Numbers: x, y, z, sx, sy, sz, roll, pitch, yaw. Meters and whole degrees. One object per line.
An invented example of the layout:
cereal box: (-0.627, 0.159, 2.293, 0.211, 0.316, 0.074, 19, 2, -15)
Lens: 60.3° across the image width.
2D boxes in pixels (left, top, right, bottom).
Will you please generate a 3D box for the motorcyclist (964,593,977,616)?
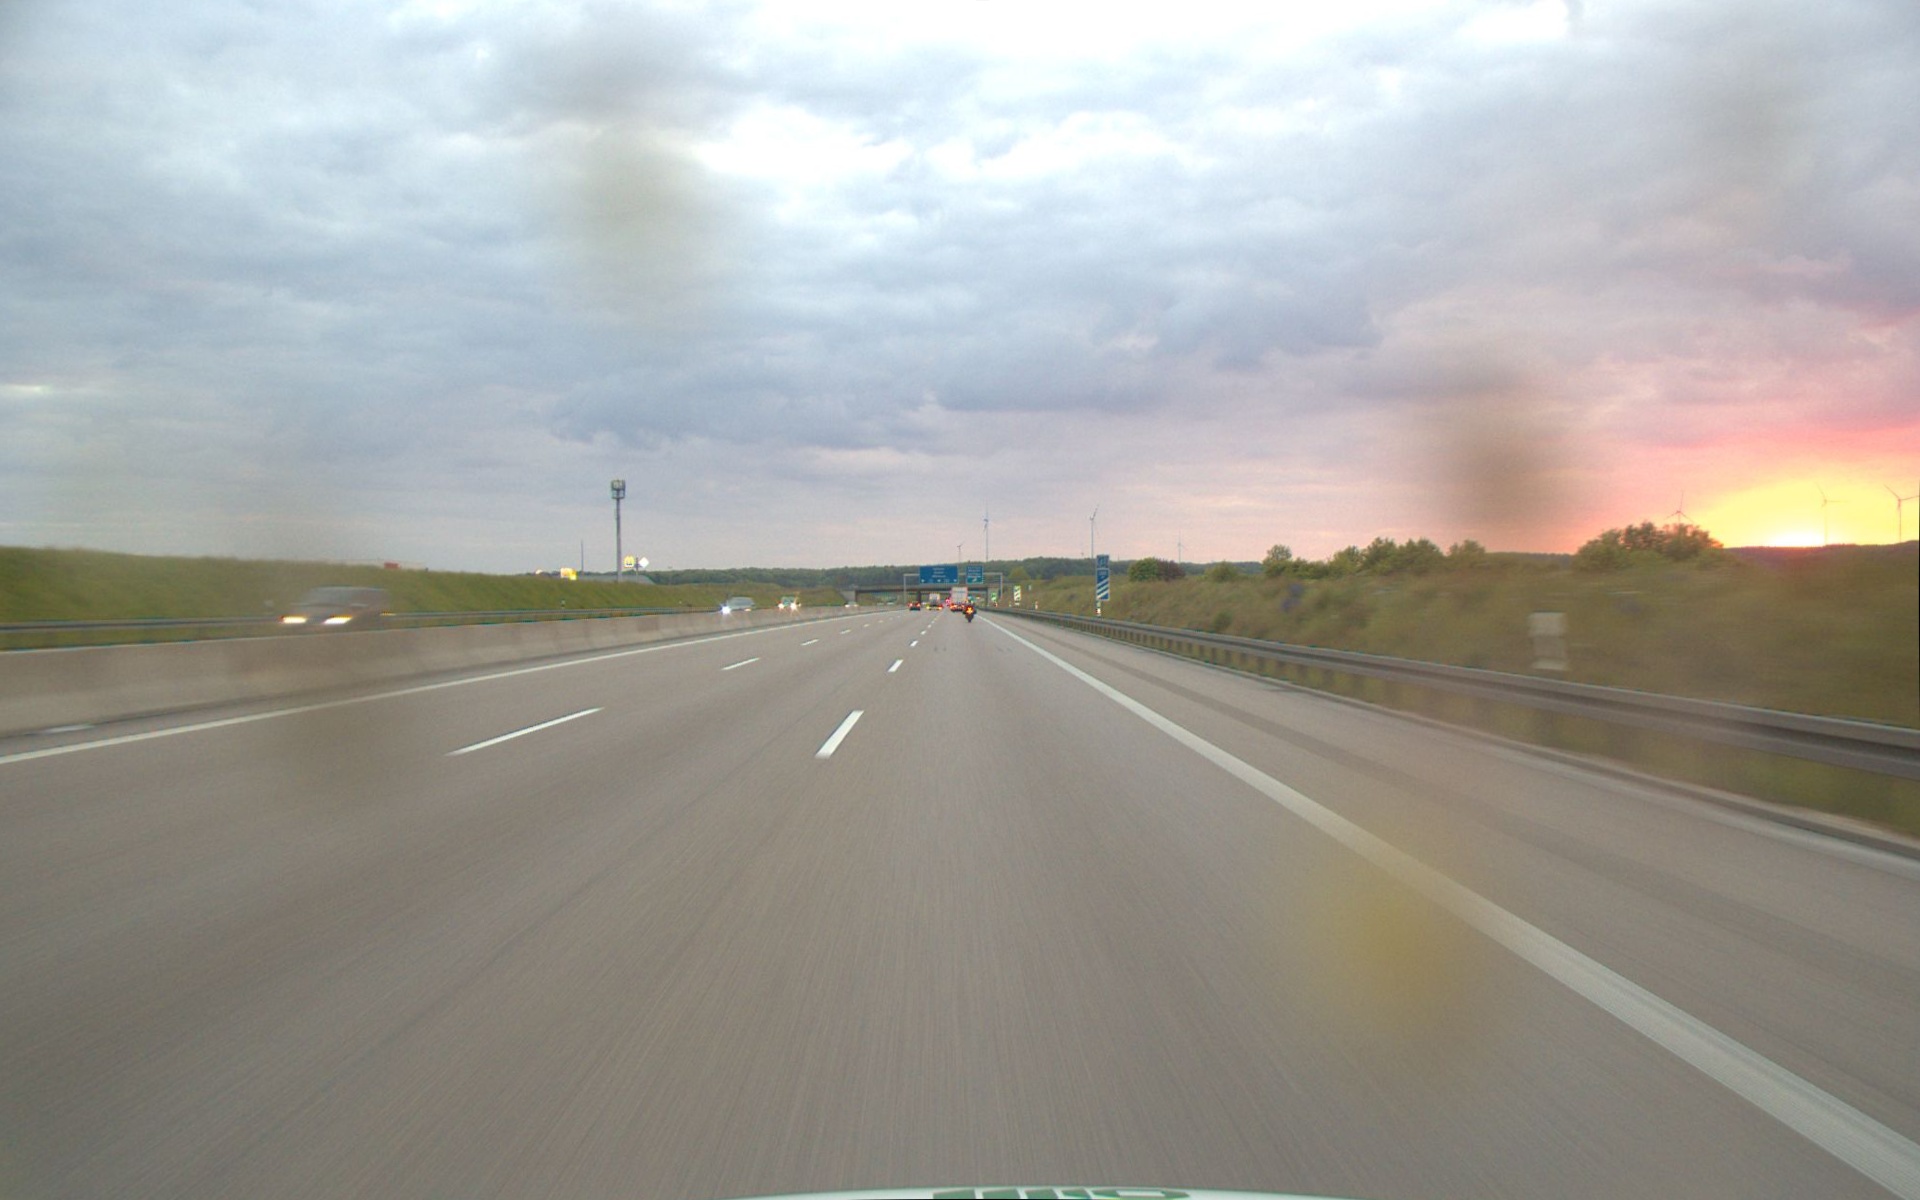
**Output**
motorcyclist: (0.713, 0.274, 109.422, 0.848, 1.513, 1.168, 1, 0, 1)

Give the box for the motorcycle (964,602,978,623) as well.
motorcycle: (0.713, 0.808, 109.307, 0.883, 1.370, 2.349, 0, 1, 0)

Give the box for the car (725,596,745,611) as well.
car: (-23.077, 0.363, 169.805, 1.597, 1.543, 4.426, 0, 0, -1)

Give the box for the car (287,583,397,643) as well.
car: (-21.483, 0.414, 57.732, 1.953, 1.970, 5.089, 1, 0, -1)

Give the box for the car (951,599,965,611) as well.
car: (-0.286, 0.687, 233.418, 1.879, 1.607, 3.999, 0, 0, -1)
